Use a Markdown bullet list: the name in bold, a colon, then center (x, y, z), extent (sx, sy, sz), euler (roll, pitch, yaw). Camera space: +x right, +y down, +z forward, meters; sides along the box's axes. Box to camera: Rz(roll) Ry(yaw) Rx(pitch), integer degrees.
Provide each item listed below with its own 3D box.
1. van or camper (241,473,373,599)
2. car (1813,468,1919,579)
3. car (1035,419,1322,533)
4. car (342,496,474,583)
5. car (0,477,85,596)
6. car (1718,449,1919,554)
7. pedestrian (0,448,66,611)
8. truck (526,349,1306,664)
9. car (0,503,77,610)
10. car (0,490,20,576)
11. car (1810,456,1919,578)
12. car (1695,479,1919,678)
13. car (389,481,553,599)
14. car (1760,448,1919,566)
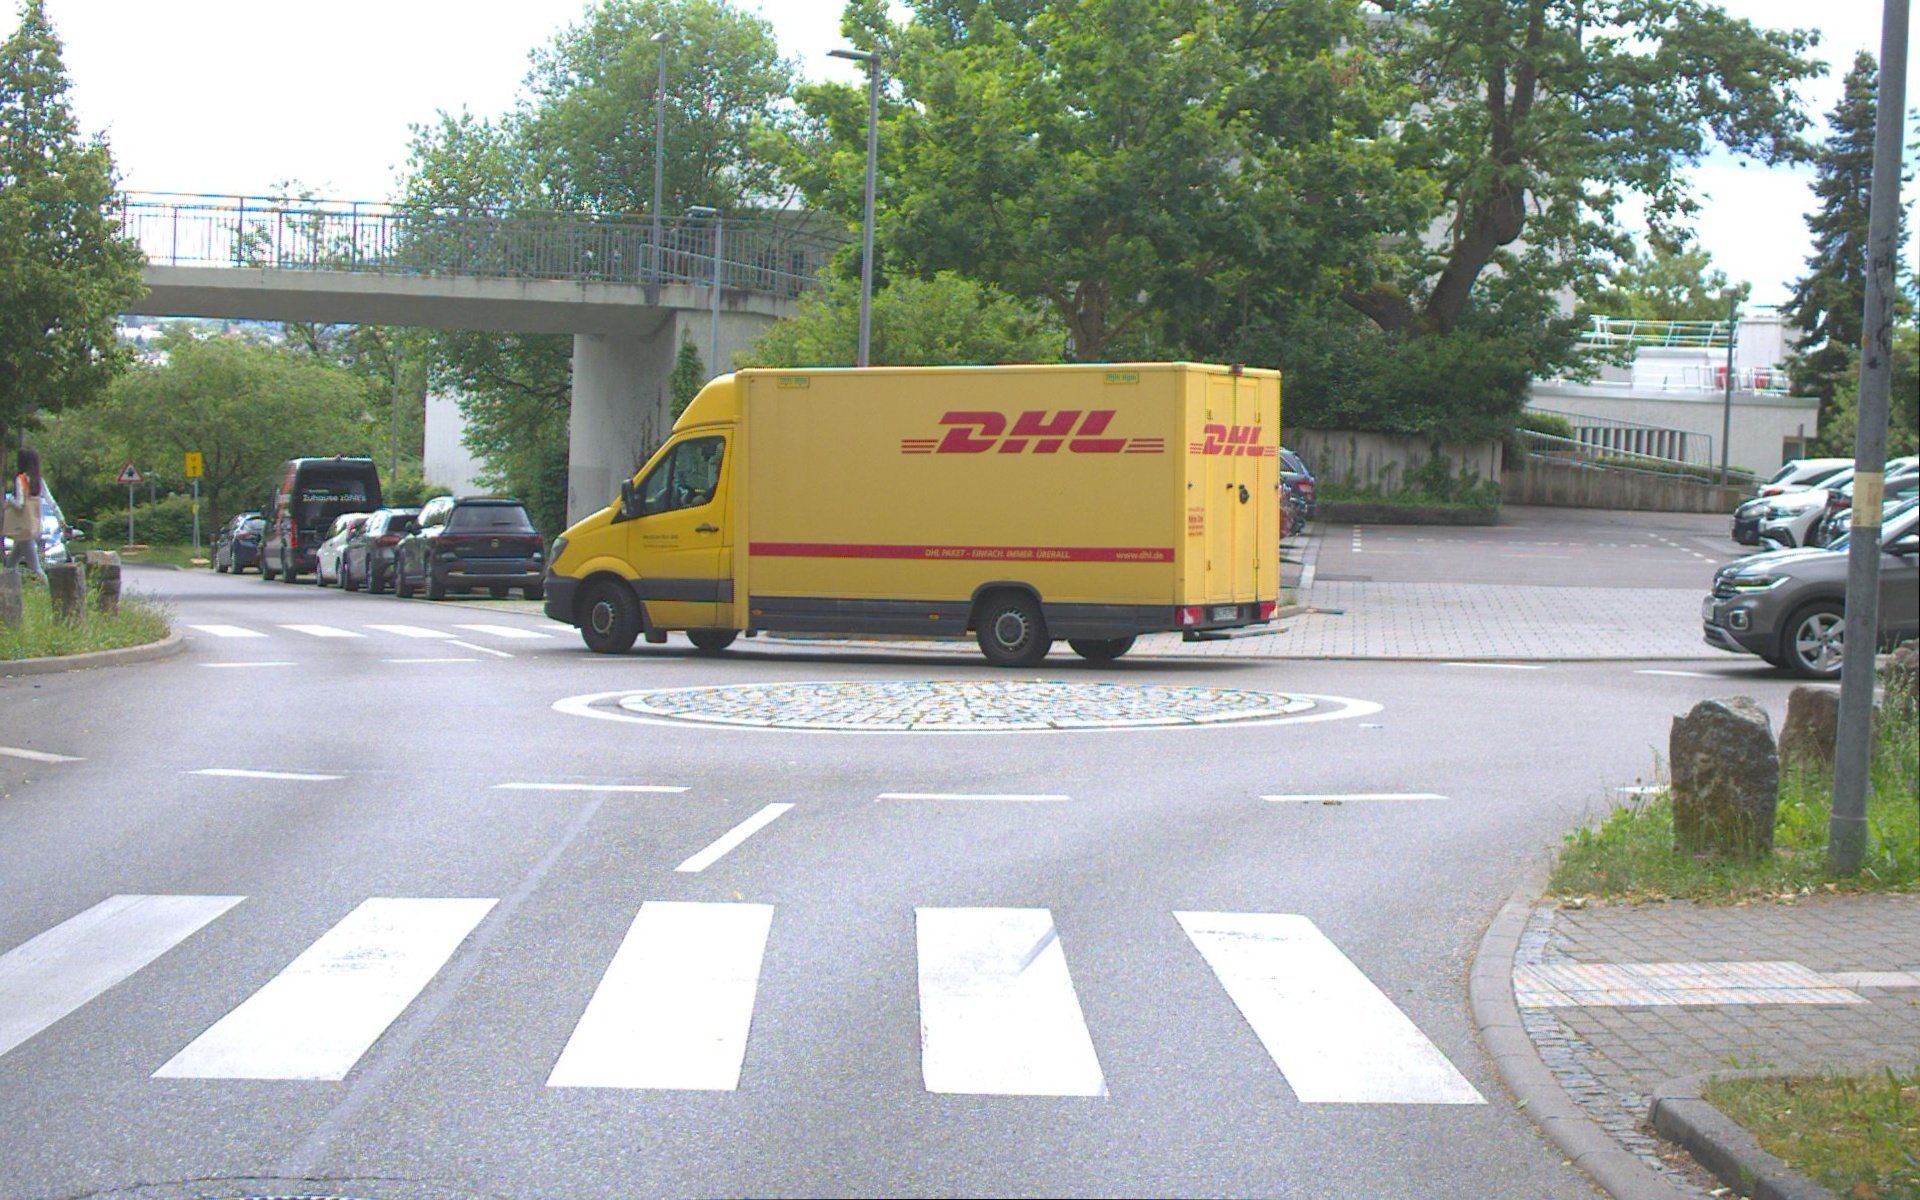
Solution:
- **van or camper**: center (-13.731, -1.334, 72.057), extent (1.993, 2.514, 5.472), euler (-1, 1, -18)
- **car**: center (13.760, -1.007, 47.114), extent (3.828, 1.453, 1.692), euler (3, 2, 9)
- **car**: center (3.548, -2.031, 56.256), extent (4.544, 1.662, 1.945), euler (2, 2, 2)
- **car**: center (-9.902, -1.092, 61.499), extent (1.699, 1.491, 4.120), euler (0, 1, -18)
- **car**: center (-12.852, -0.892, 45.940), extent (1.785, 1.463, 4.002), euler (2, 2, -20)
- **car**: center (14.081, -1.537, 54.370), extent (3.983, 1.512, 1.756), euler (3, 2, 11)
- **pedestrian**: center (-10.001, -0.769, 37.024), extent (0.657, 1.716, 0.740), euler (2, 2, -14)
- **truck**: center (-0.457, -0.910, 31.951), extent (6.812, 2.693, 2.471), euler (2, 1, 27)
- **car**: center (-14.187, -0.686, 51.068), extent (1.884, 1.455, 3.548), euler (2, 2, -17)
- **car**: center (-18.154, -1.242, 61.877), extent (1.884, 1.504, 4.454), euler (2, 1, -21)
- **car**: center (13.146, -1.019, 44.370), extent (4.043, 1.512, 1.755), euler (3, 2, 9)
- **car**: center (8.310, -0.188, 28.712), extent (3.996, 1.612, 1.722), euler (0, 1, 2)
- **car**: center (-7.918, -0.930, 55.365), extent (1.813, 1.673, 4.371), euler (0, -2, -19)
- **car**: center (13.744, -1.304, 49.479), extent (4.120, 1.588, 1.692), euler (2, 2, 7)
